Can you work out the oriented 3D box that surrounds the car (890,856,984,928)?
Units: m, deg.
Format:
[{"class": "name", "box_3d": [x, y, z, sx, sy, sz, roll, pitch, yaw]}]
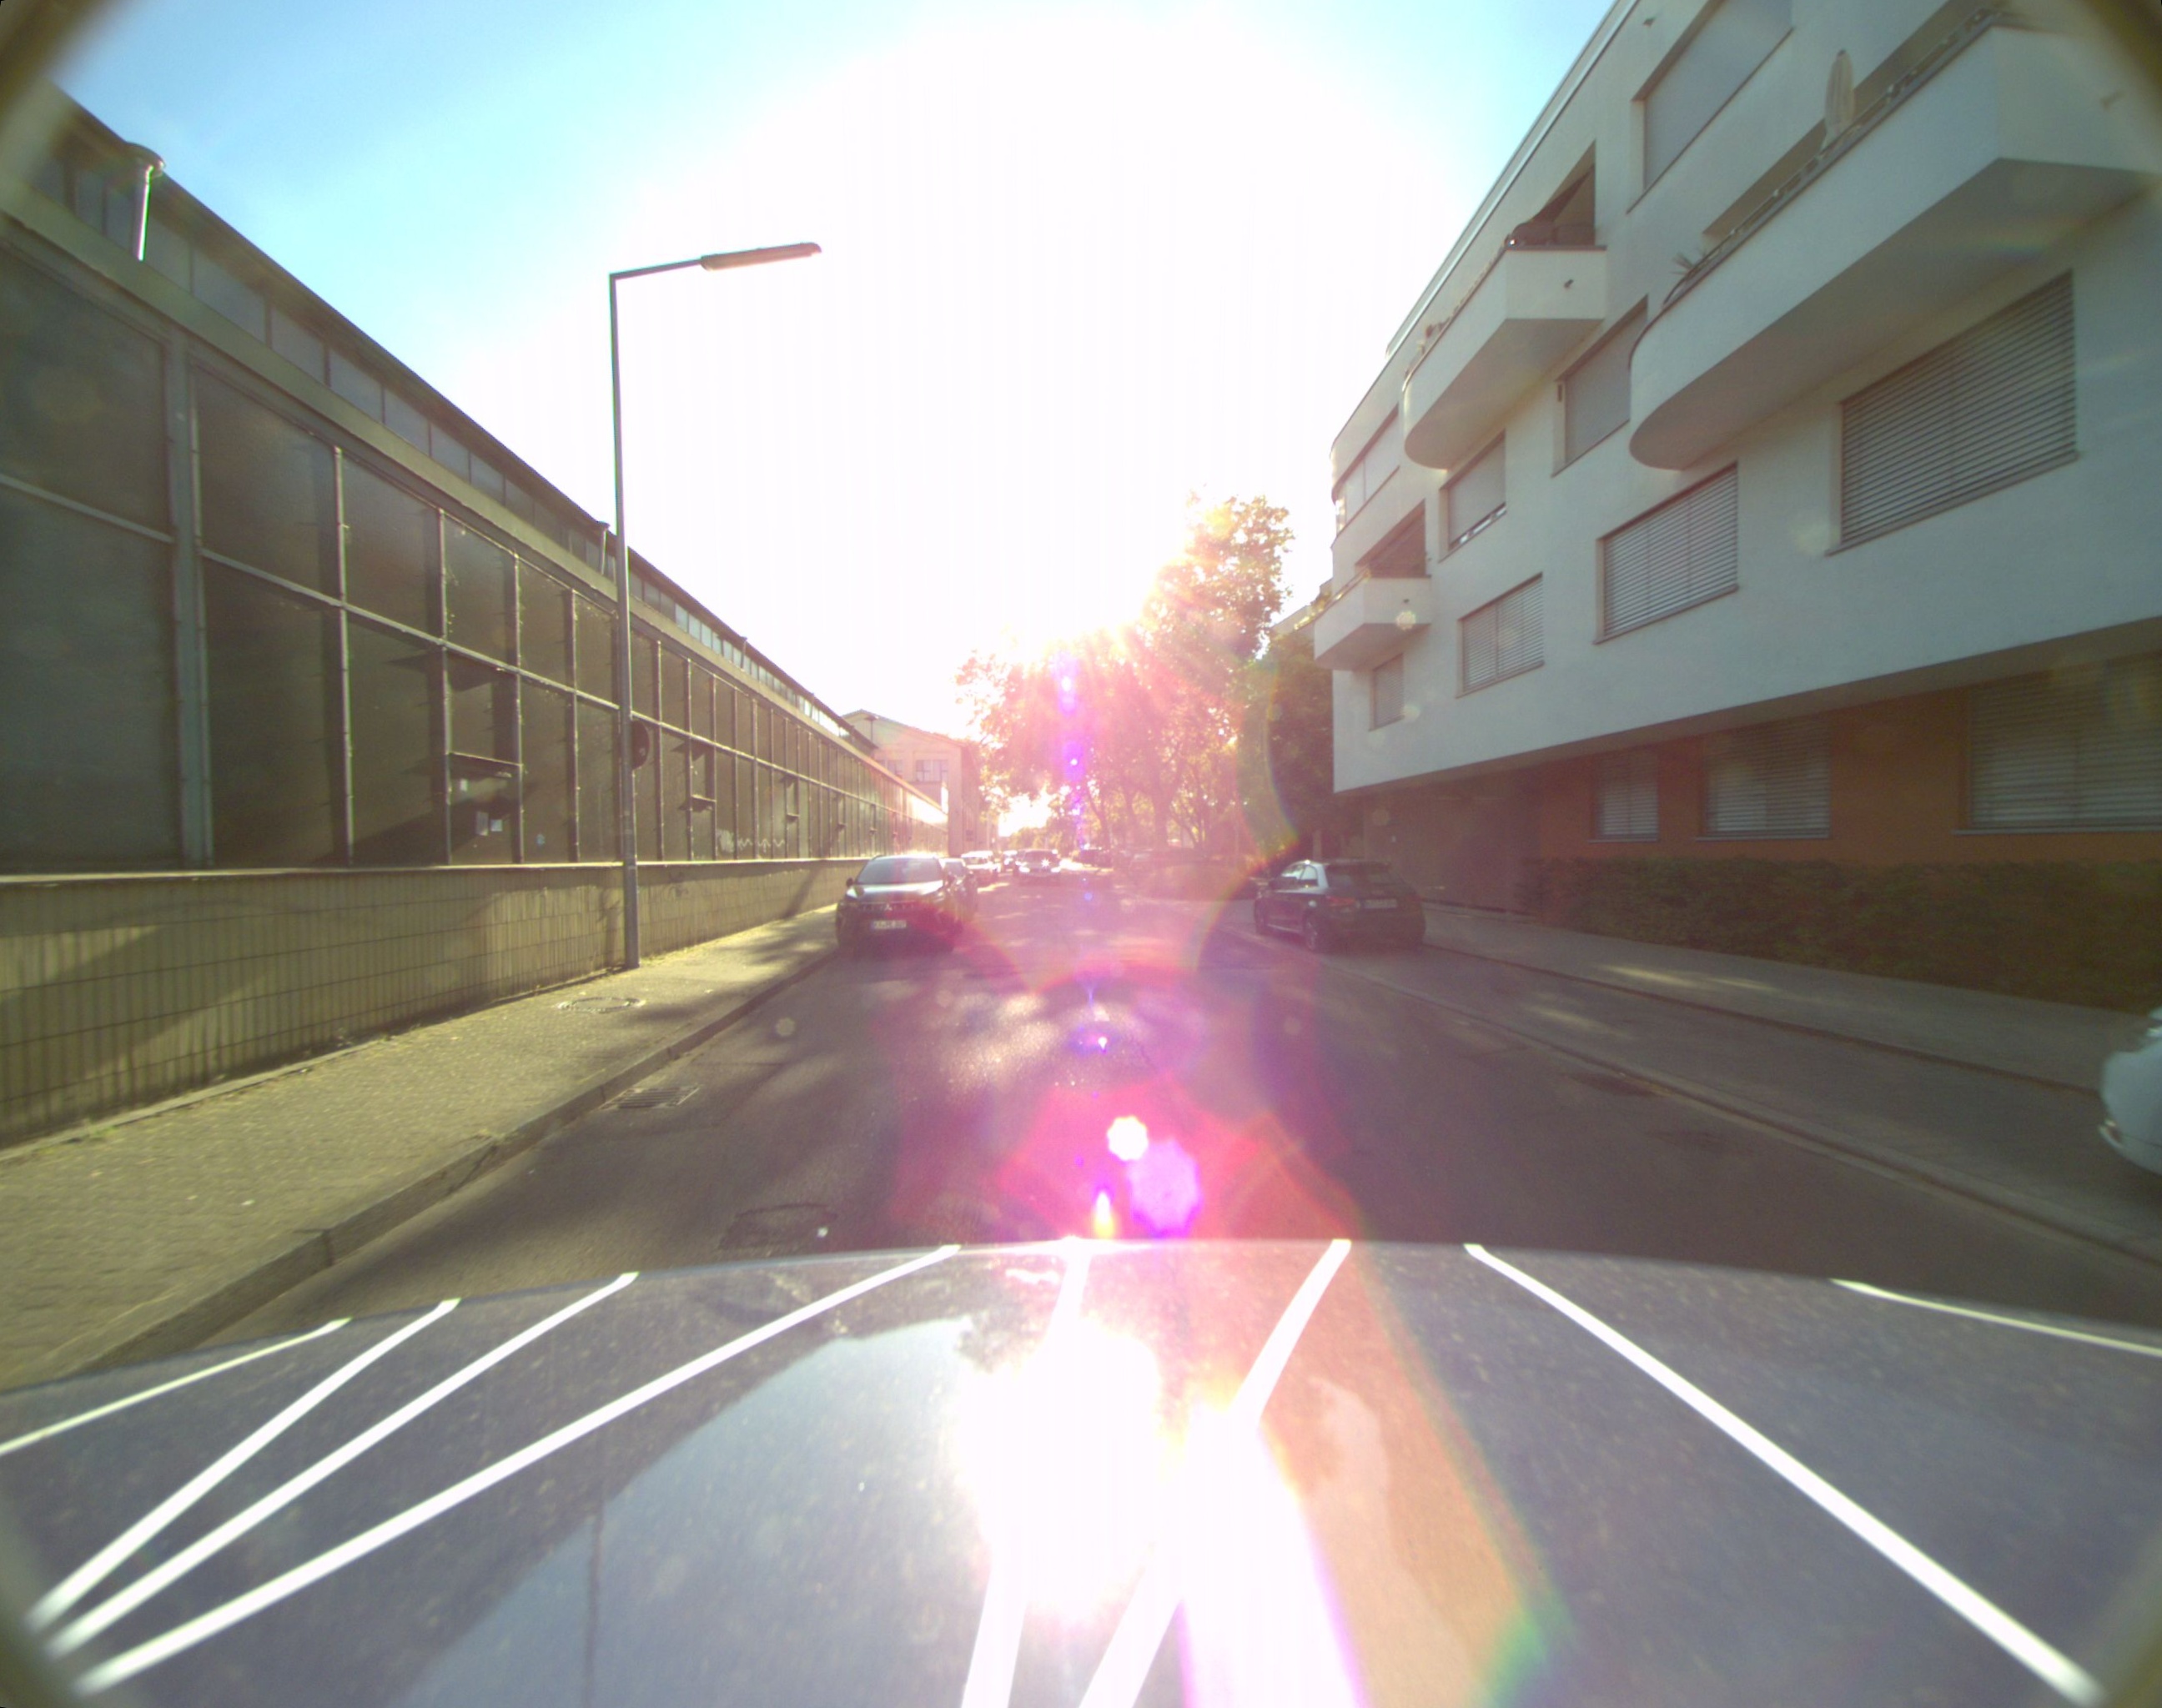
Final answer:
[{"class": "car", "box_3d": [-3.436, 0.836, 18.925, 1.755, 1.482, 4.619, -1, 1, -4]}]

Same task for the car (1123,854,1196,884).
[{"class": "car", "box_3d": [4.277, 0.789, 41.174, 3.656, 1.552, 1.696, 0, 1, -30]}]

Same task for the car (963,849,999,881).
[{"class": "car", "box_3d": [-5.317, 0.536, 40.837, 1.756, 1.625, 4.306, 0, 1, -5]}]

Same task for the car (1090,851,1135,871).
[{"class": "car", "box_3d": [3.121, 0.668, 74.733, 4.004, 1.871, 1.830, 0, 1, -21]}]

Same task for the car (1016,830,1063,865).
[{"class": "car", "box_3d": [-1.980, -0.314, 35.275, 1.855, 1.527, 3.854, -1, 1, -7]}]

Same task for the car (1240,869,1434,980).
[{"class": "car", "box_3d": [4.074, 1.040, 12.757, 1.679, 1.425, 3.768, -1, 1, -5]}]

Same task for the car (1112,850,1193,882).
[{"class": "car", "box_3d": [4.127, 0.657, 43.875, 4.276, 1.765, 1.901, 0, 1, -28]}]

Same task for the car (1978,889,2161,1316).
[{"class": "car", "box_3d": [5.264, 0.978, 1.257, 1.863, 1.578, 4.617, -1, 1, -7]}]

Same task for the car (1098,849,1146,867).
[{"class": "car", "box_3d": [3.787, 0.387, 69.576, 4.004, 1.615, 1.794, 1, 1, -19]}]

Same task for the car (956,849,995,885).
[{"class": "car", "box_3d": [-5.033, 0.586, 36.395, 1.756, 1.625, 3.998, 0, 1, -7]}]

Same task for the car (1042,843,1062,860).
[{"class": "car", "box_3d": [-2.951, -0.240, 77.517, 1.905, 1.527, 4.620, 3, 0, -1]}]

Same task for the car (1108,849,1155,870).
[{"class": "car", "box_3d": [4.230, 0.421, 63.232, 3.656, 1.652, 1.646, 0, 1, -31]}]

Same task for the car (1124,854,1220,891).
[{"class": "car", "box_3d": [4.245, 0.819, 35.304, 4.146, 1.631, 1.773, 0, 1, -29]}]

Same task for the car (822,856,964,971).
[{"class": "car", "box_3d": [-3.076, 0.877, 13.309, 1.812, 1.578, 4.402, -1, 1, -6]}]

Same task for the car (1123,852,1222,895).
[{"class": "car", "box_3d": [3.858, 0.764, 31.818, 3.967, 1.653, 1.695, 0, 1, -32]}]

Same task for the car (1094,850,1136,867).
[{"class": "car", "box_3d": [3.247, 0.436, 71.877, 3.604, 1.552, 1.647, 0, 1, -23]}]

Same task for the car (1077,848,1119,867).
[{"class": "car", "box_3d": [1.726, 0.366, 77.160, 4.007, 1.875, 1.713, 0, 1, -31]}]
